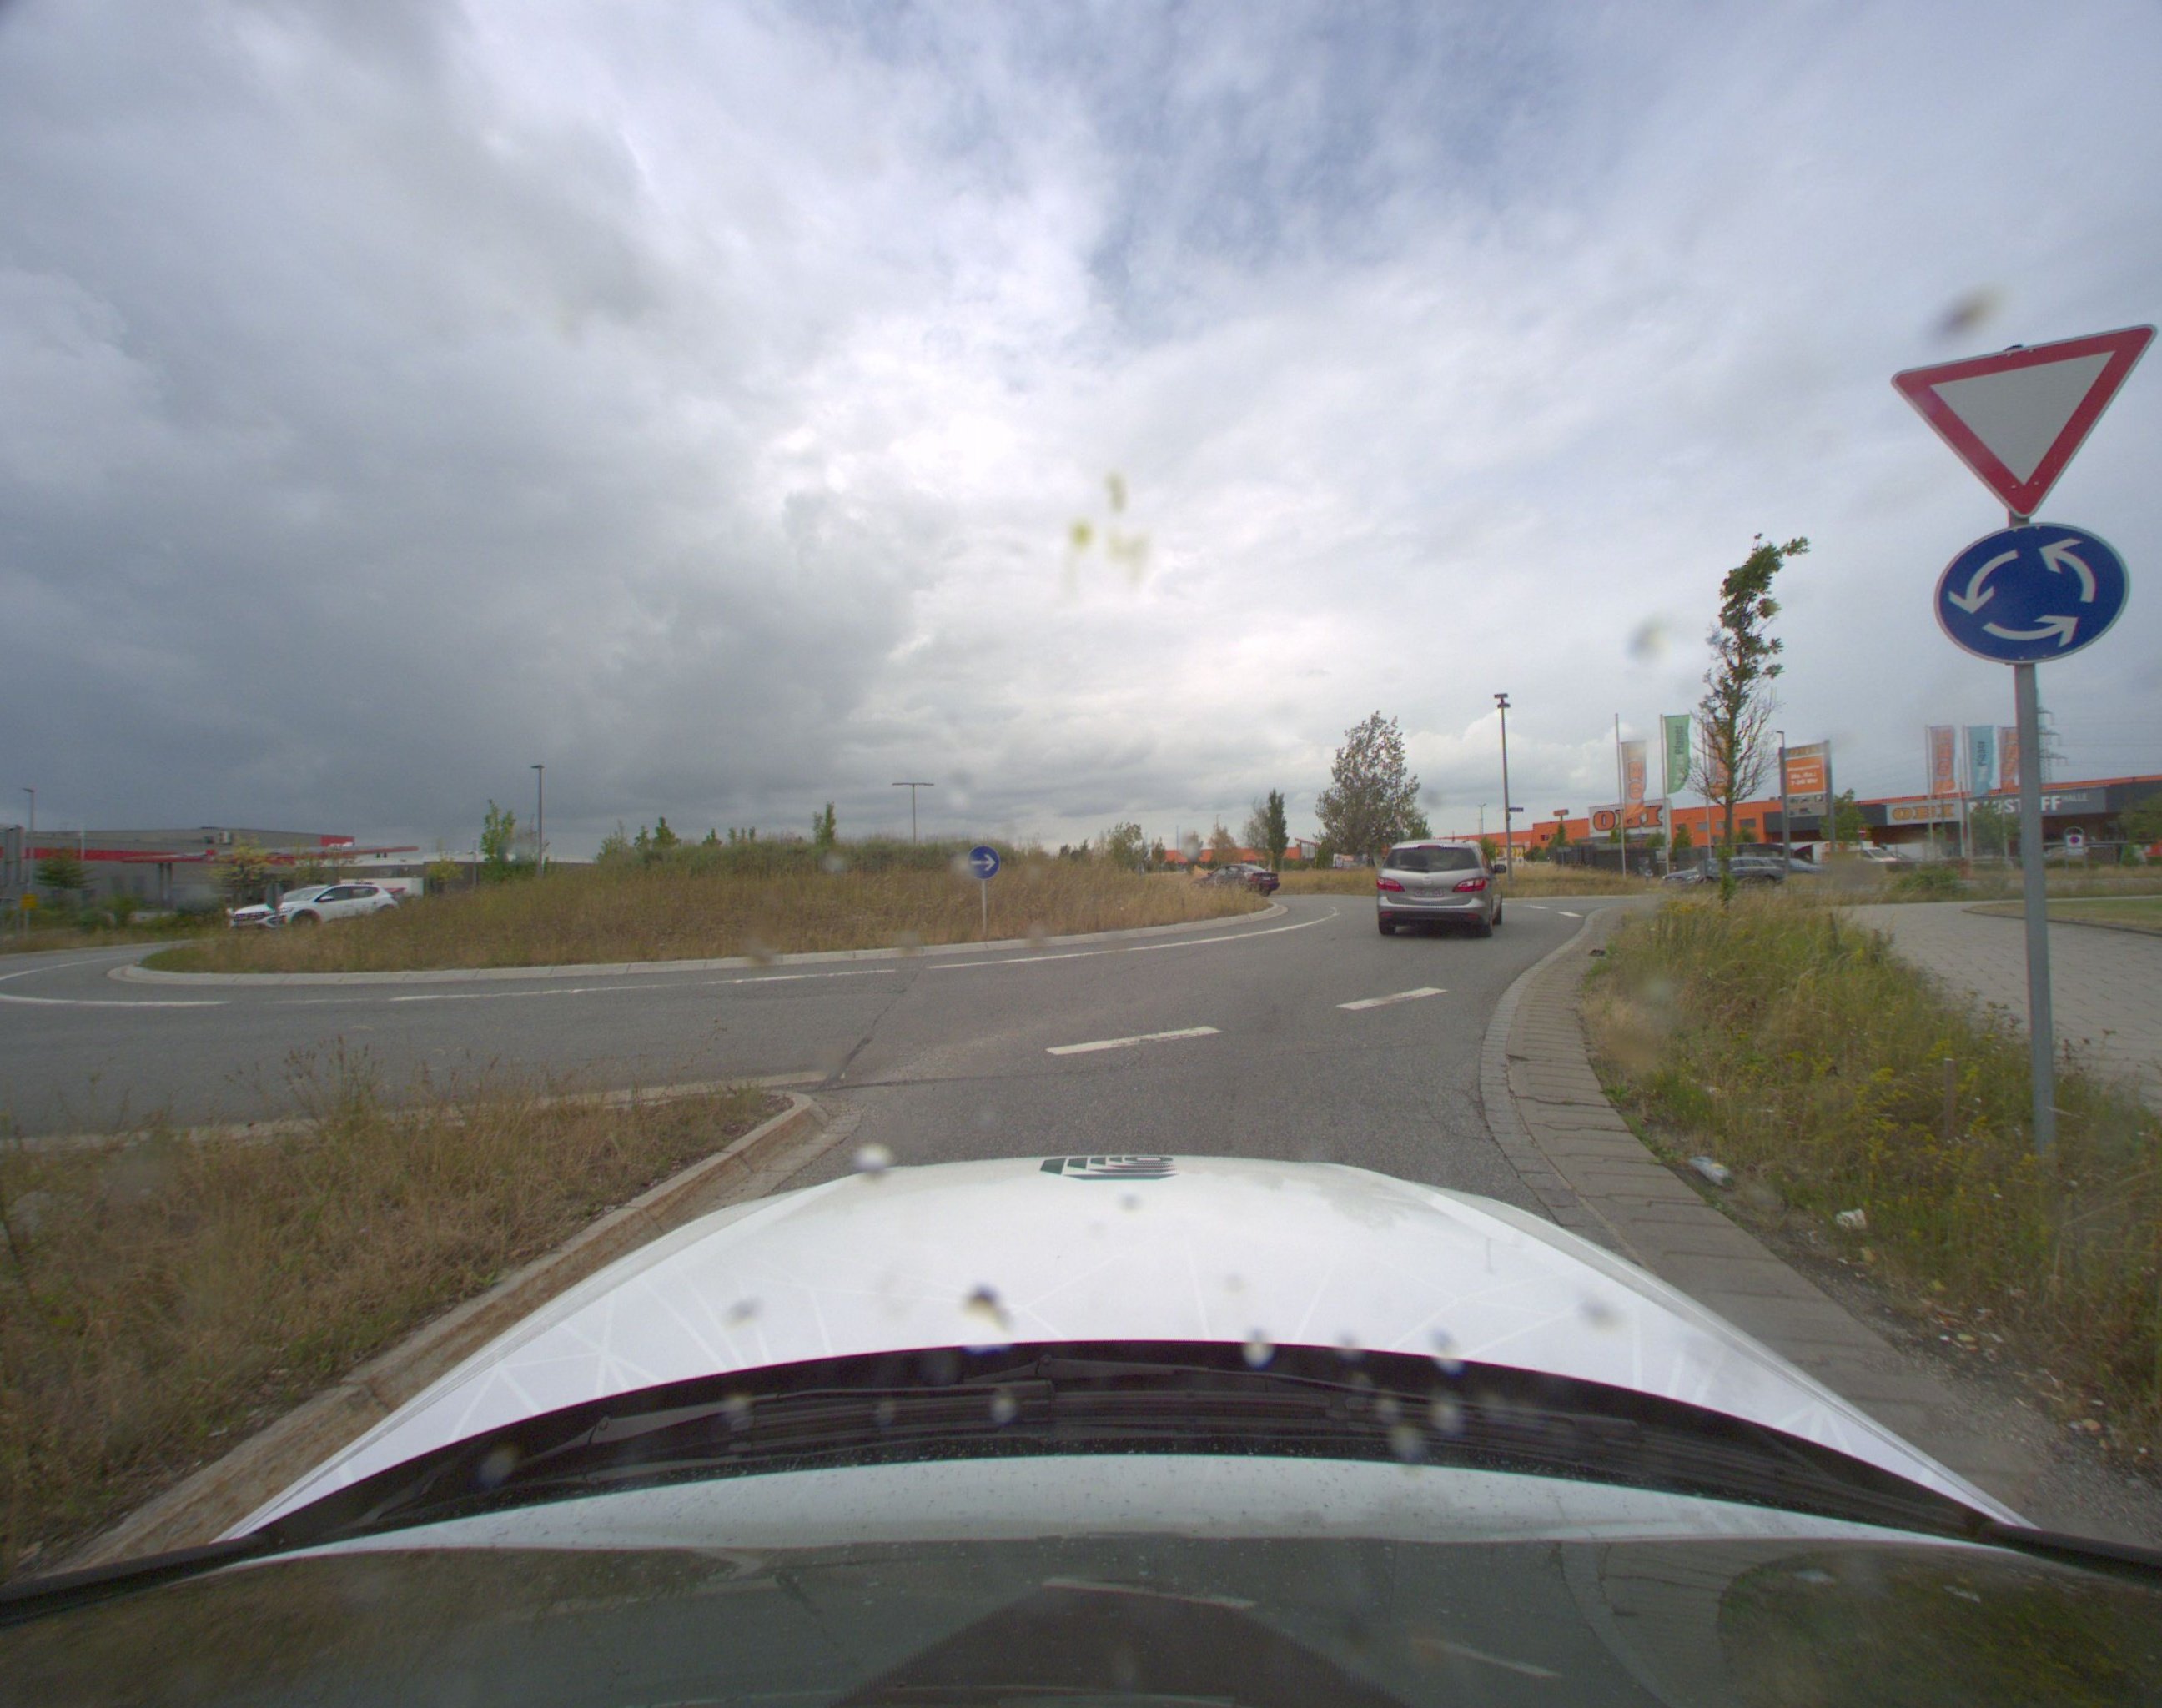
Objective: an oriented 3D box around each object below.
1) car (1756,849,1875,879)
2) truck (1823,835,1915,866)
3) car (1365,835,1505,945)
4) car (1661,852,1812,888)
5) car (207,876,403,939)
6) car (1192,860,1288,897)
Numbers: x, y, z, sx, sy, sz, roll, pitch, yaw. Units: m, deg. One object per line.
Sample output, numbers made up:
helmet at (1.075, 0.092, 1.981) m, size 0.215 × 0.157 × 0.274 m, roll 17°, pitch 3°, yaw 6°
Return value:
car at (41.786, 0.639, 46.456) m, size 2.006 × 1.507 × 4.637 m, roll 2°, pitch -3°, yaw -30°
truck at (71.750, -0.241, 74.285) m, size 2.436 × 2.484 × 5.522 m, roll 1°, pitch -3°, yaw -14°
car at (6.367, 0.498, 14.387) m, size 1.721 × 1.598 × 4.023 m, roll 0°, pitch 2°, yaw 32°
car at (26.736, 0.666, 33.319) m, size 4.659 × 1.404 × 1.927 m, roll 0°, pitch -1°, yaw -1°
car at (-23.210, 1.542, 24.603) m, size 1.719 × 1.558 × 4.092 m, roll -3°, pitch 0°, yaw 5°
car at (6.578, 0.966, 34.098) m, size 1.749 × 1.403 × 3.959 m, roll -1°, pitch 1°, yaw -30°
